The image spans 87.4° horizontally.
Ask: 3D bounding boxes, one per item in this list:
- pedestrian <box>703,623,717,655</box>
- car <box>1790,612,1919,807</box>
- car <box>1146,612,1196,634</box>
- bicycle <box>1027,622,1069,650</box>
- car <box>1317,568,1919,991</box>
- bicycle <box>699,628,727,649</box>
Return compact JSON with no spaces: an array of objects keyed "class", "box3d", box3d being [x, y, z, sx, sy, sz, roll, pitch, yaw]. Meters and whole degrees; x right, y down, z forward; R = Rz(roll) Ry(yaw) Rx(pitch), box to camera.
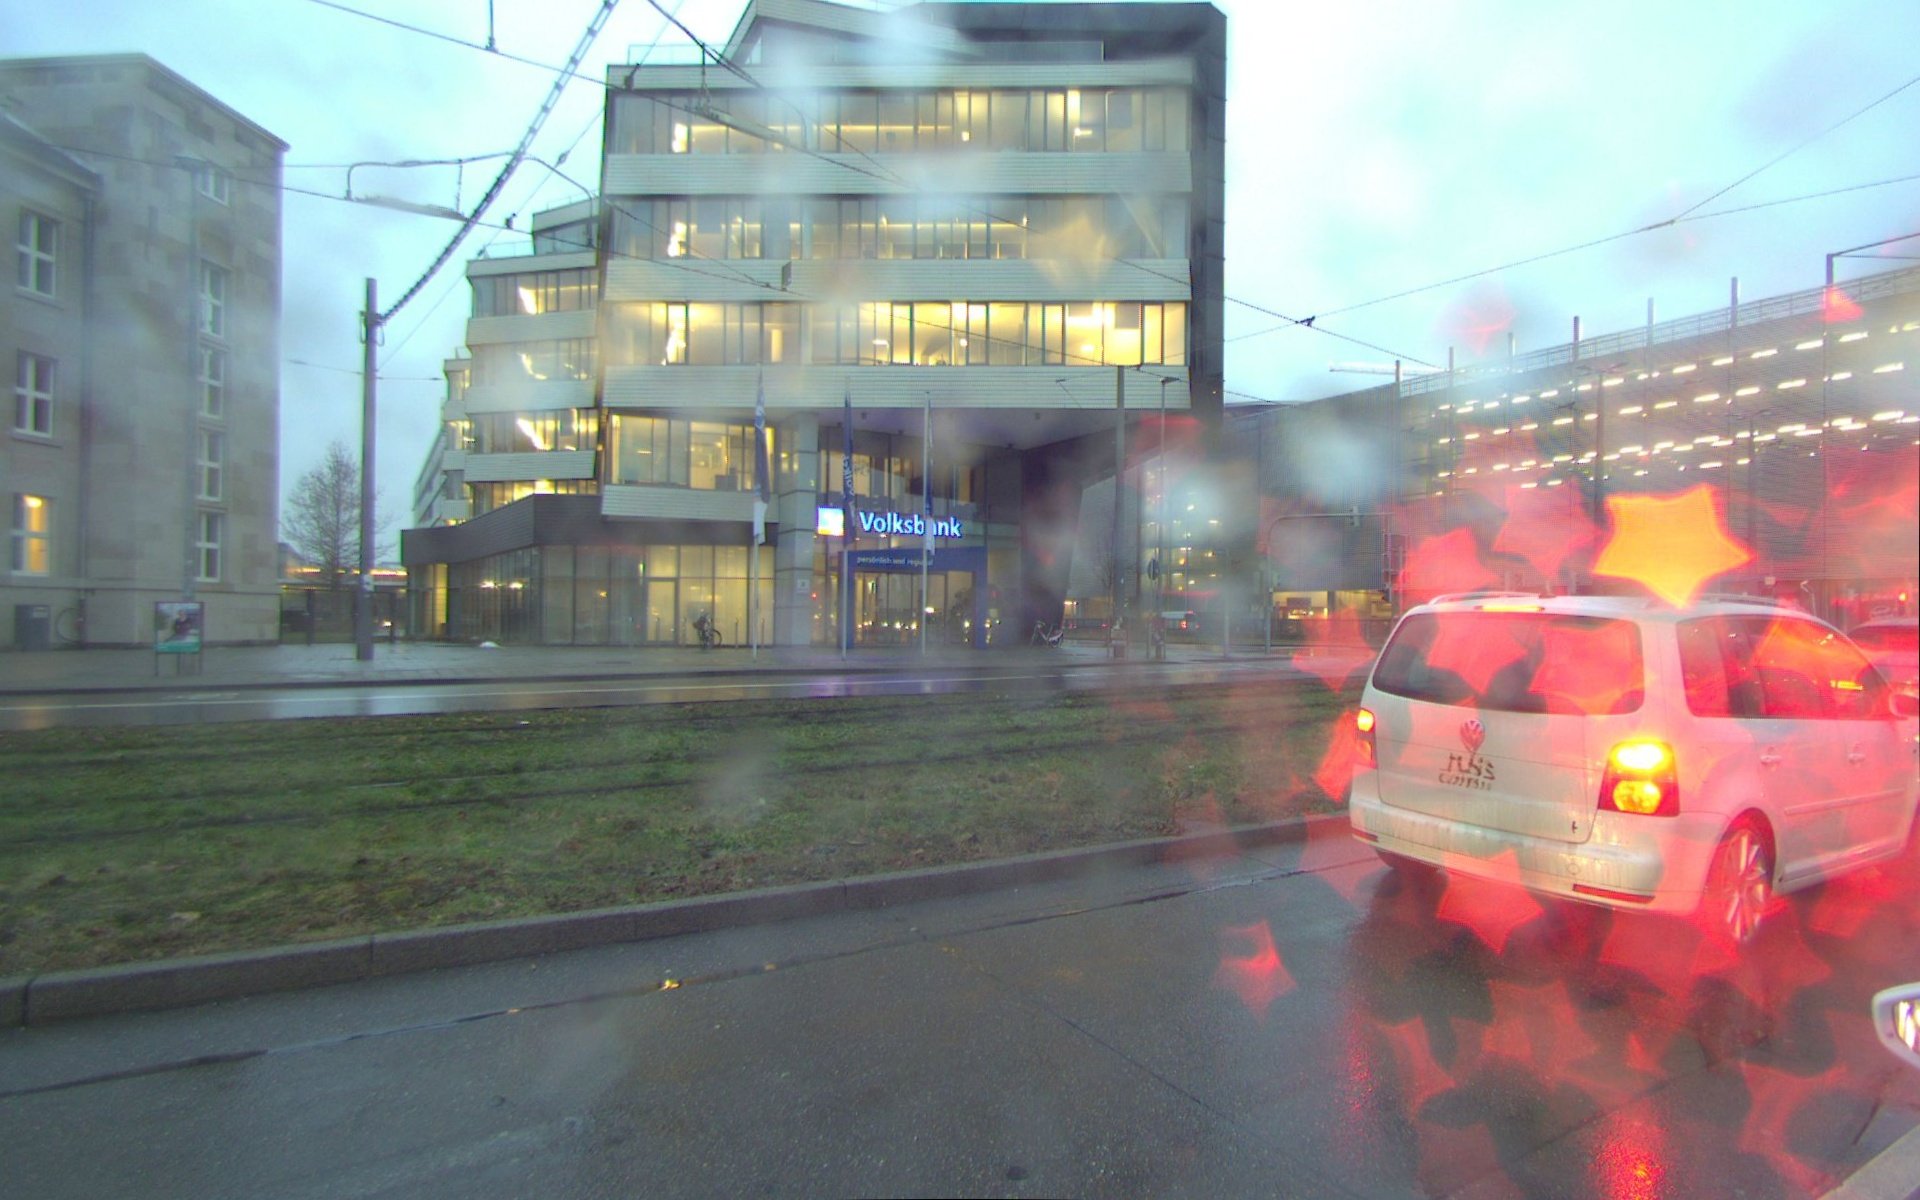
[{"class":"pedestrian","box3d":[-8.557,1.330,34.368,0.380,1.103,0.325,0,-1,5]},{"class":"car","box3d":[9.485,0.934,9.321,3.959,1.595,1.742,1,-1,-34]},{"class":"car","box3d":[20.386,2.211,97.255,1.782,2.027,4.806,1,-1,-36]},{"class":"bicycle","box3d":[3.521,1.441,40.109,1.588,1.105,0.553,1,-1,-23]},{"class":"car","box3d":[4.104,0.713,5.794,4.102,1.682,1.660,1,1,-33]},{"class":"bicycle","box3d":[-8.623,1.350,35.065,0.896,0.724,0.483,1,-1,-10]}]
